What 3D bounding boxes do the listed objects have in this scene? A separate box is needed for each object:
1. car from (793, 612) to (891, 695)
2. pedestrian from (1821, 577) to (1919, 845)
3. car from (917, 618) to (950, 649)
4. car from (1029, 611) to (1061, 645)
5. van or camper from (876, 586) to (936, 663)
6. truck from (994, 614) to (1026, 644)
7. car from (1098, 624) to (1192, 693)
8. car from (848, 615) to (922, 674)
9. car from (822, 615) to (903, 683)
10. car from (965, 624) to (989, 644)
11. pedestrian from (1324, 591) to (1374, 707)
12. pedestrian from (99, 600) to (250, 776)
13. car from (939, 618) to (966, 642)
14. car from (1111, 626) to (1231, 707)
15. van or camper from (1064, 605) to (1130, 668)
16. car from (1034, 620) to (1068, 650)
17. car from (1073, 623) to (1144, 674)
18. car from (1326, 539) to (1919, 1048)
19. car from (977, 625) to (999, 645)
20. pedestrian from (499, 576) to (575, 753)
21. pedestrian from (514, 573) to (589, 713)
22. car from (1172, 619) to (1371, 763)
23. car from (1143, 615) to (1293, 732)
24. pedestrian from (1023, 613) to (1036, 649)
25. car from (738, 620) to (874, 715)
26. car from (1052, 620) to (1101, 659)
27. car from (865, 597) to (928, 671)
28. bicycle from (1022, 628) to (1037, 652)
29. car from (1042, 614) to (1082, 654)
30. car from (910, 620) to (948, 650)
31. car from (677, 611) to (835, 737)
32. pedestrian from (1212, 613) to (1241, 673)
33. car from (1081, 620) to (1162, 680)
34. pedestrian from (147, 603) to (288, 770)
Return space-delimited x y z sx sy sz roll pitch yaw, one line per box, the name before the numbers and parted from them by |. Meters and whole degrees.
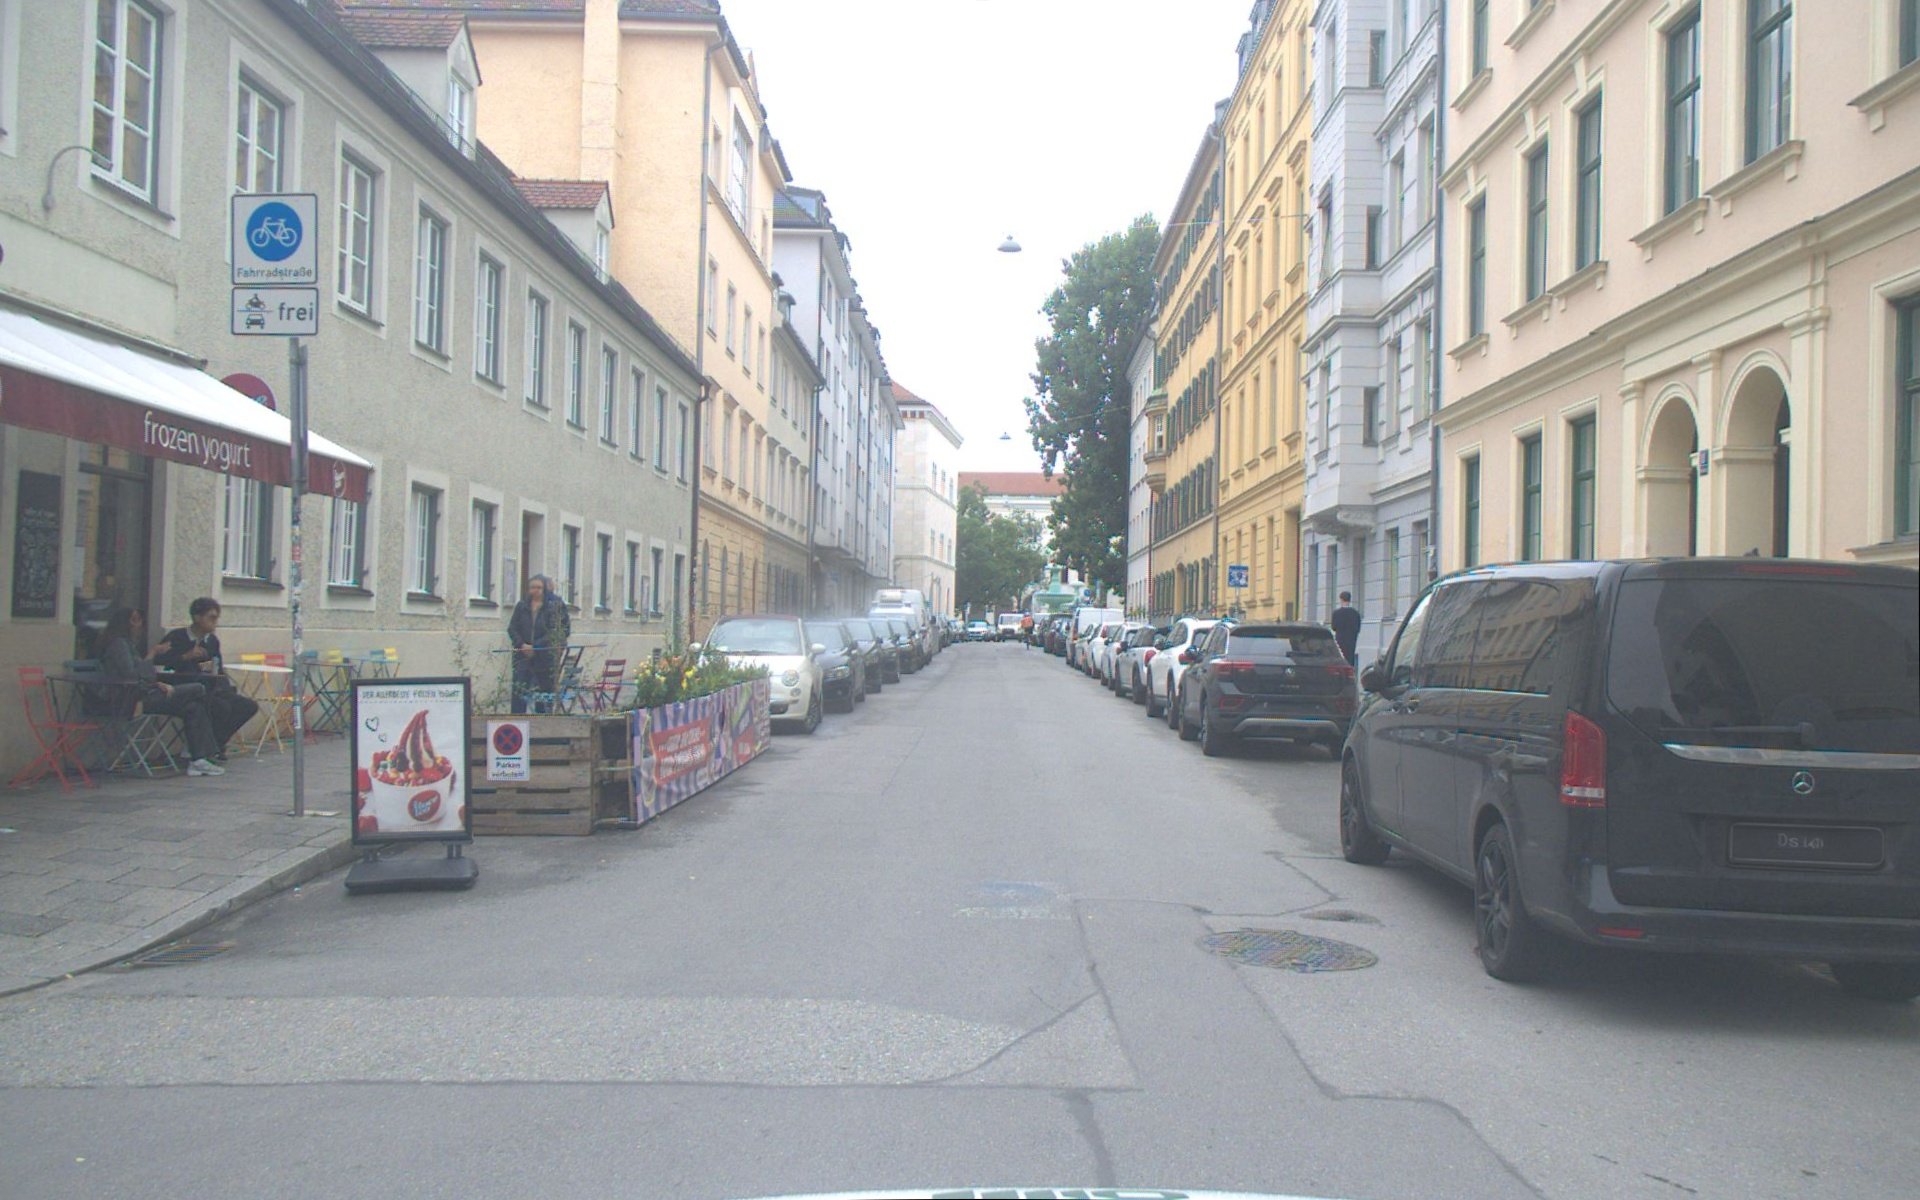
car | -2.318 1.048 33.337 1.719 1.522 4.199 1 -1 -1
pedestrian | 6.490 0.743 11.279 0.704 1.747 1.003 1 -2 0
car | -1.370 1.771 87.641 1.671 1.638 3.862 0 -1 0
car | 5.175 1.712 100.646 1.813 1.953 4.770 1 -1 2
van or camper | -1.718 0.799 53.910 1.718 2.321 5.273 1 -1 0
truck | 4.004 2.339 130.759 2.076 2.287 6.188 1 -2 6
car | 4.144 1.293 37.656 1.673 1.433 4.815 1 -1 1
car | -1.926 1.136 43.463 1.719 1.433 4.102 1 -1 0
car | -2.230 1.100 38.450 1.780 1.467 4.129 0 0 -2
car | 1.360 2.665 130.107 1.671 1.609 3.864 0 -1 4
pedestrian | 6.900 0.872 29.359 0.655 2.015 0.708 -2 -2 2
pedestrian | -6.054 0.671 12.778 0.786 1.313 0.693 1 -2 1
car | -0.524 2.069 115.646 1.671 1.638 3.864 0 -1 3
car | 3.996 1.229 31.882 1.673 1.429 4.206 1 -1 -1
van or camper | 4.425 1.177 54.047 1.796 1.904 5.079 1 -1 1
car | 5.193 1.994 94.760 1.774 1.643 4.156 1 -1 2
car | 4.358 1.411 49.053 1.673 1.417 4.205 1 -1 -1
car | 3.452 0.776 8.942 1.956 1.897 5.254 2 -1 3
car | 2.319 2.894 136.222 1.671 1.609 3.864 0 -1 4
pedestrian | -4.458 0.681 17.464 0.517 1.813 0.877 1 -2 1
pedestrian | -5.776 0.607 23.405 0.806 1.931 0.827 1 -2 0
car | 3.714 1.042 20.403 1.718 1.548 4.275 1 -1 1
car | 3.890 1.073 25.580 1.707 1.611 4.467 1 -1 1
pedestrian | 3.370 1.509 80.304 0.629 1.744 0.843 1 -2 2
car | -2.456 1.049 27.441 1.761 1.363 4.685 1 0 0
car | 4.798 1.646 68.565 1.774 1.490 4.247 2 -1 1
car | -1.890 0.984 48.611 1.719 2.030 4.622 1 -1 -3
bicycle | 3.363 1.960 80.239 0.661 1.114 1.760 1 -2 2
car | 4.974 1.658 80.851 1.774 1.829 4.247 2 -1 2
car | -1.534 1.738 82.521 1.780 1.470 3.818 0 -1 0
car | -2.656 0.938 22.292 1.719 1.501 3.712 2 -1 -2
pedestrian | 7.295 1.189 45.322 0.647 1.599 0.642 -2 -2 1
car | 4.274 1.307 44.195 1.673 1.480 4.095 1 -1 -1
pedestrian | -6.048 0.696 13.502 0.786 1.313 0.693 1 -2 1
